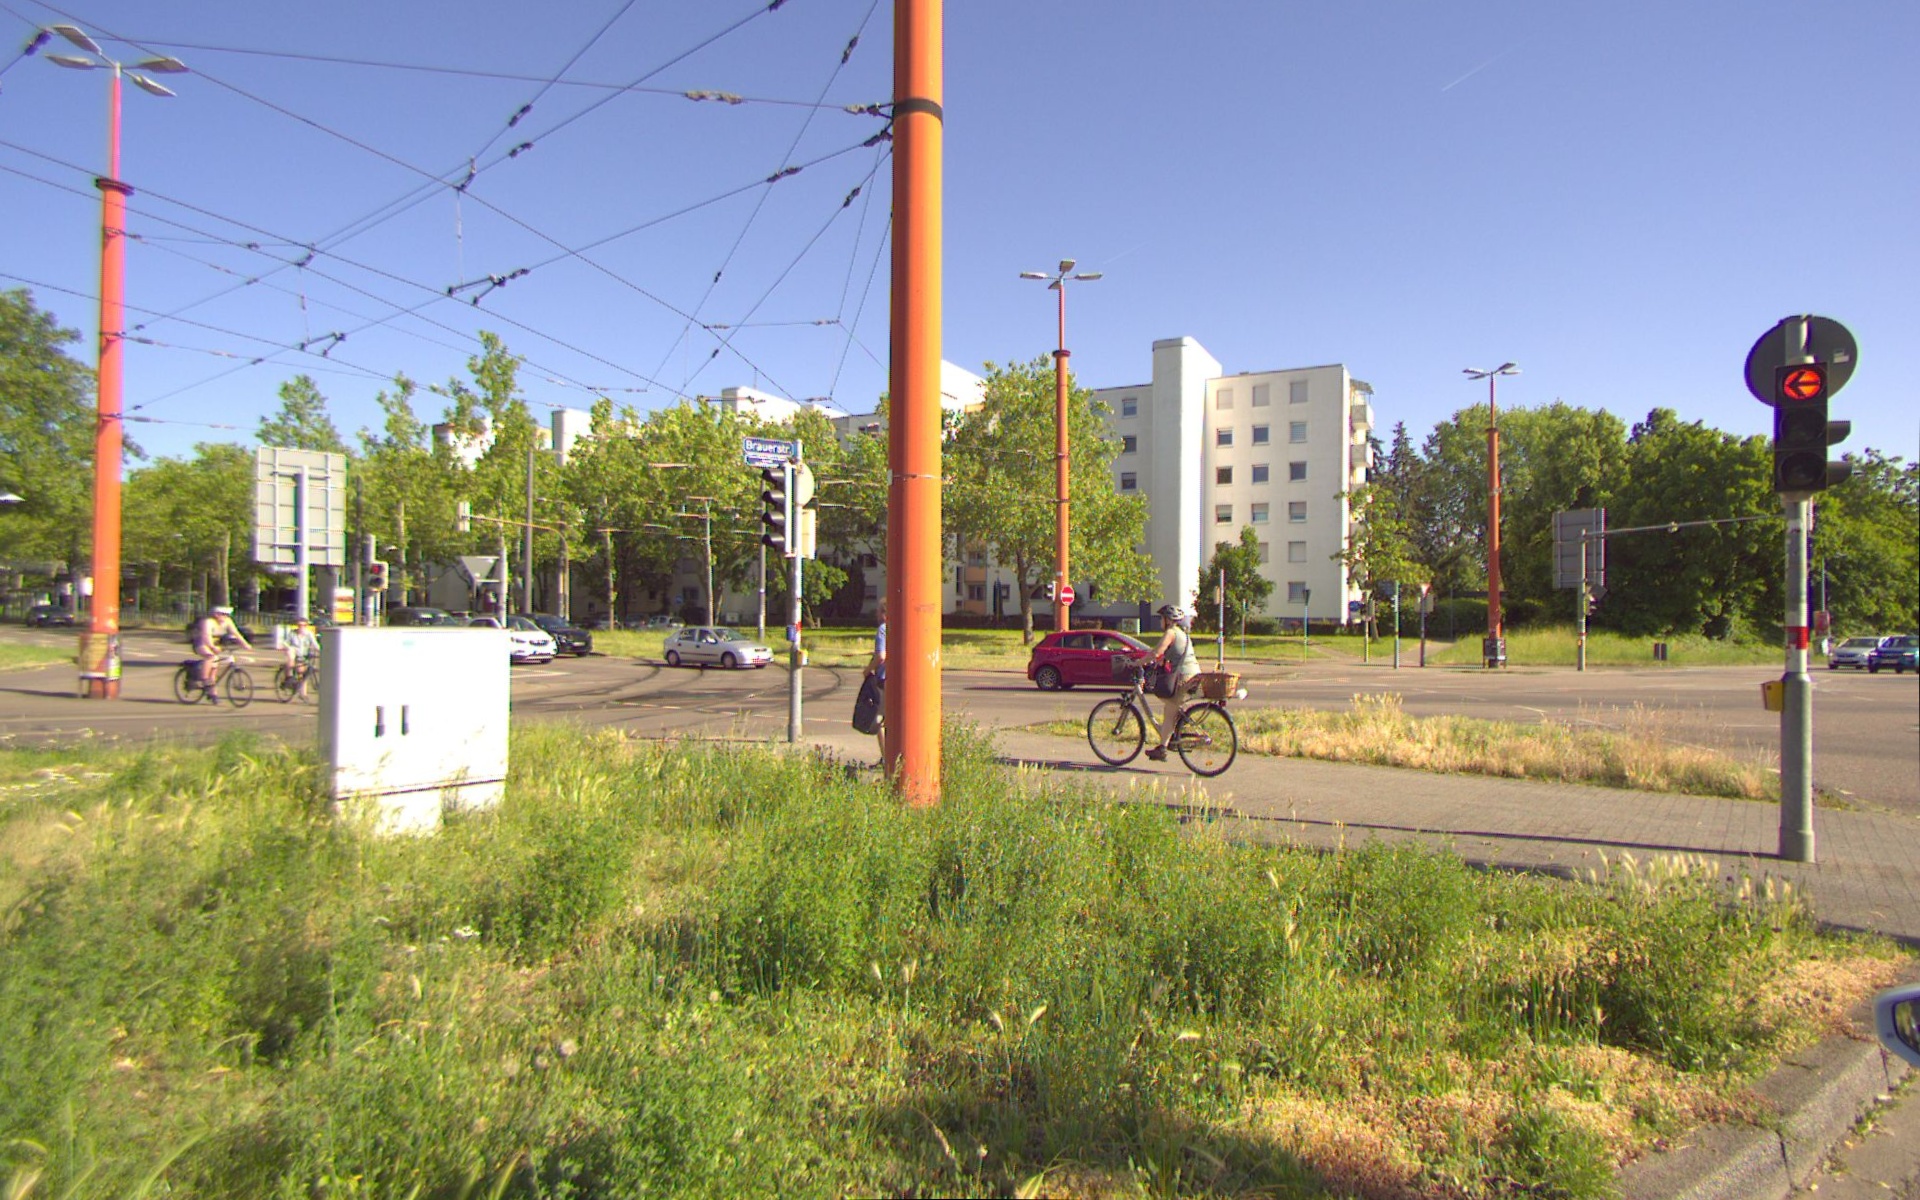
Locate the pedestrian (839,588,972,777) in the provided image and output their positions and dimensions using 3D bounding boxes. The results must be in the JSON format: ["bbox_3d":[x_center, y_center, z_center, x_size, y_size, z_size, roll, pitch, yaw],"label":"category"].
[{"bbox_3d":[-0.553,0.801,10.336,0.973,1.817,0.951,0,-1,38],"label":"pedestrian"}]

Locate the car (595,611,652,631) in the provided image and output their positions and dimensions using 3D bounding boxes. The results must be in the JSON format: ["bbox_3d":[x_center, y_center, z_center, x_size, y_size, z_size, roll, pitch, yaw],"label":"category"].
[{"bbox_3d":[-24.989,1.558,74.703,3.934,1.428,1.794,1,-1,-16],"label":"car"}]

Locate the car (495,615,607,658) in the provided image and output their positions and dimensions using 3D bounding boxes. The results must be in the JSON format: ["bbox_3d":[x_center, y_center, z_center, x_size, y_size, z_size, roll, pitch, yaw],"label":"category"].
[{"bbox_3d":[-15.813,1.391,38.798,4.187,1.566,1.854,0,-1,31],"label":"car"}]

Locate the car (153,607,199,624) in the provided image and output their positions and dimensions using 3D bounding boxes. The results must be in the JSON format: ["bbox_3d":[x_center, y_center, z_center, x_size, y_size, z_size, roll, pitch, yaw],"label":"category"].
[{"bbox_3d":[-93.978,1.893,120.467,1.969,2.040,3.984,0,-1,38],"label":"car"}]

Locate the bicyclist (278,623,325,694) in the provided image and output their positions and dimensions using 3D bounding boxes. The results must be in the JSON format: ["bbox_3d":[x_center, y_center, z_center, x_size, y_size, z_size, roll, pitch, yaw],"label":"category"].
[{"bbox_3d":[-13.086,1.151,19.970,0.616,1.399,0.443,1,-1,-1],"label":"bicyclist"}]

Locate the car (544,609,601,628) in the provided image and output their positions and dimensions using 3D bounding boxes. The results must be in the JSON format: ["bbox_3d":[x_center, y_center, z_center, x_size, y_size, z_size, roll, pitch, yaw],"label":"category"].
[{"bbox_3d":[-30.069,1.421,78.082,3.934,1.428,1.794,1,-1,-16],"label":"car"}]

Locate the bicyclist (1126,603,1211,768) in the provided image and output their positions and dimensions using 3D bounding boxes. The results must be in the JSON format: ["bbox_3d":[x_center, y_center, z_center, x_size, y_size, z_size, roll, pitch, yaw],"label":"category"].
[{"bbox_3d":[2.137,0.843,10.265,0.651,1.605,0.671,0,-1,33],"label":"bicyclist"}]

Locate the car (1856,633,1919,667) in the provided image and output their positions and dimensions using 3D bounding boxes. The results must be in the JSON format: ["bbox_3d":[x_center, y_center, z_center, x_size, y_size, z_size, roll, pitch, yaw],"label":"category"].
[{"bbox_3d":[37.161,1.953,39.623,3.571,1.260,1.730,1,-1,-31],"label":"car"}]

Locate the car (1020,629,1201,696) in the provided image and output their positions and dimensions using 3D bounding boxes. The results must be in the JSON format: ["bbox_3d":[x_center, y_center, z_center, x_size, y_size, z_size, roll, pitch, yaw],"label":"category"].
[{"bbox_3d":[3.607,1.449,24.056,3.987,1.454,1.685,0,-1,23],"label":"car"}]

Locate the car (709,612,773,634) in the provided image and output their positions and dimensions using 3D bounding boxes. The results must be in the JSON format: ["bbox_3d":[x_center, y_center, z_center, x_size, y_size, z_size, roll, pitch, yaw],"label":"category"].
[{"bbox_3d":[-14.535,1.551,66.848,1.770,1.428,3.987,0,-1,35],"label":"car"}]

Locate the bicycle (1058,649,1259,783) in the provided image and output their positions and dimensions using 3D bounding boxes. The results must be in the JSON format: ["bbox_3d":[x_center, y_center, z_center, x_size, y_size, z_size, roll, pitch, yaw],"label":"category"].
[{"bbox_3d":[2.022,1.141,10.336,1.915,1.210,0.690,0,-1,33],"label":"bicycle"}]

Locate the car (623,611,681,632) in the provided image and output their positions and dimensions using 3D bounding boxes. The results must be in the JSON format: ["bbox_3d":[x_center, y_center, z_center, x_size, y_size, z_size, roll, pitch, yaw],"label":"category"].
[{"bbox_3d":[-22.249,1.549,72.652,3.934,1.428,1.794,1,-1,-16],"label":"car"}]

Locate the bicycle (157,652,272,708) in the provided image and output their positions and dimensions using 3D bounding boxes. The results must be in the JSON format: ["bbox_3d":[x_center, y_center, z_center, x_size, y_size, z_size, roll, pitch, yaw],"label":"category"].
[{"bbox_3d":[-13.991,1.488,18.875,1.612,0.974,0.685,1,-1,-1],"label":"bicycle"}]

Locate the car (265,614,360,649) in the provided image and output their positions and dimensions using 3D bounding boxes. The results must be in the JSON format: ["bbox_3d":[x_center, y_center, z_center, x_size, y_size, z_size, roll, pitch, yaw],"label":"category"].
[{"bbox_3d":[-27.589,1.328,42.774,4.288,1.368,1.761,0,-1,33],"label":"car"}]

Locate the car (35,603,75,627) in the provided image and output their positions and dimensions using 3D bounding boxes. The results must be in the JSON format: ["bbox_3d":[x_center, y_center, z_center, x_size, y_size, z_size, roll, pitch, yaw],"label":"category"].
[{"bbox_3d":[-65.885,1.111,73.093,4.247,1.730,1.841,-1,-2,43],"label":"car"}]

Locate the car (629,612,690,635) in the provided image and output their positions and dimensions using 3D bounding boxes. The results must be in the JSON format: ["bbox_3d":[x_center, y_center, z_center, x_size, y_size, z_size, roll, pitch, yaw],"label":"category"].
[{"bbox_3d":[-19.172,1.487,63.957,3.936,1.416,1.750,0,-2,37],"label":"car"}]

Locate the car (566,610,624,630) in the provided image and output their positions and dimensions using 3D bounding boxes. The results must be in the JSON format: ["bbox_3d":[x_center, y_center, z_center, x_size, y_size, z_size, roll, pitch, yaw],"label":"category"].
[{"bbox_3d":[-27.570,1.488,75.927,3.934,1.428,1.794,1,-1,-16],"label":"car"}]

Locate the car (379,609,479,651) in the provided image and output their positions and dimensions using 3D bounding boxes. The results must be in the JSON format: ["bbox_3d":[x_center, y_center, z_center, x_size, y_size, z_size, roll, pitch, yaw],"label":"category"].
[{"bbox_3d":[-23.041,1.298,43.557,4.231,1.730,1.848,0,-1,30],"label":"car"}]

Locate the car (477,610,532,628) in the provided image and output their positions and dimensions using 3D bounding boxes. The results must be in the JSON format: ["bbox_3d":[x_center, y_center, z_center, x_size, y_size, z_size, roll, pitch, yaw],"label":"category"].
[{"bbox_3d":[-38.024,1.571,83.891,3.935,1.428,1.794,1,-1,-17],"label":"car"}]

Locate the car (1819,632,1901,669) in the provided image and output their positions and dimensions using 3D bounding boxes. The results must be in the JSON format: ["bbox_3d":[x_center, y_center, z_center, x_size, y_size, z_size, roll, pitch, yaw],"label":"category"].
[{"bbox_3d":[40.969,2.272,45.698,3.891,1.552,1.752,1,-1,-31],"label":"car"}]

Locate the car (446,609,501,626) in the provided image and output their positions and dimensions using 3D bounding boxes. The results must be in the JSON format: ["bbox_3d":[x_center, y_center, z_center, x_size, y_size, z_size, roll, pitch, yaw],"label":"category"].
[{"bbox_3d":[-41.427,1.490,85.633,3.935,1.428,1.794,1,-1,-17],"label":"car"}]

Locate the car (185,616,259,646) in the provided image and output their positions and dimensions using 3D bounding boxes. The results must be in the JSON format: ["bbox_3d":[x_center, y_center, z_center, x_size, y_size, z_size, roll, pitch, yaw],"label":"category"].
[{"bbox_3d":[-36.561,1.513,49.713,4.293,1.368,1.759,0,-1,37],"label":"car"}]

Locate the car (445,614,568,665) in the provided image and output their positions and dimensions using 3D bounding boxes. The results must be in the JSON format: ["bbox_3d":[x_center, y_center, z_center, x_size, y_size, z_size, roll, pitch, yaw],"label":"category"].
[{"bbox_3d":[-15.761,1.347,34.878,4.178,1.658,1.825,0,-1,31],"label":"car"}]

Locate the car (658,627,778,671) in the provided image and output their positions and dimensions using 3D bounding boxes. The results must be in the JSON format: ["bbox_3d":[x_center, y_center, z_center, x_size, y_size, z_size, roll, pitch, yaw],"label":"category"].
[{"bbox_3d":[-8.209,1.620,34.003,3.925,1.363,1.486,0,-1,26],"label":"car"}]

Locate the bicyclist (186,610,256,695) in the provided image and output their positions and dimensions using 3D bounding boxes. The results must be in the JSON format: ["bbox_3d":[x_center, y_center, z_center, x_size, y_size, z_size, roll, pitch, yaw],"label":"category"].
[{"bbox_3d":[-13.899,0.975,18.906,0.752,1.565,0.732,1,-1,-1],"label":"bicyclist"}]
